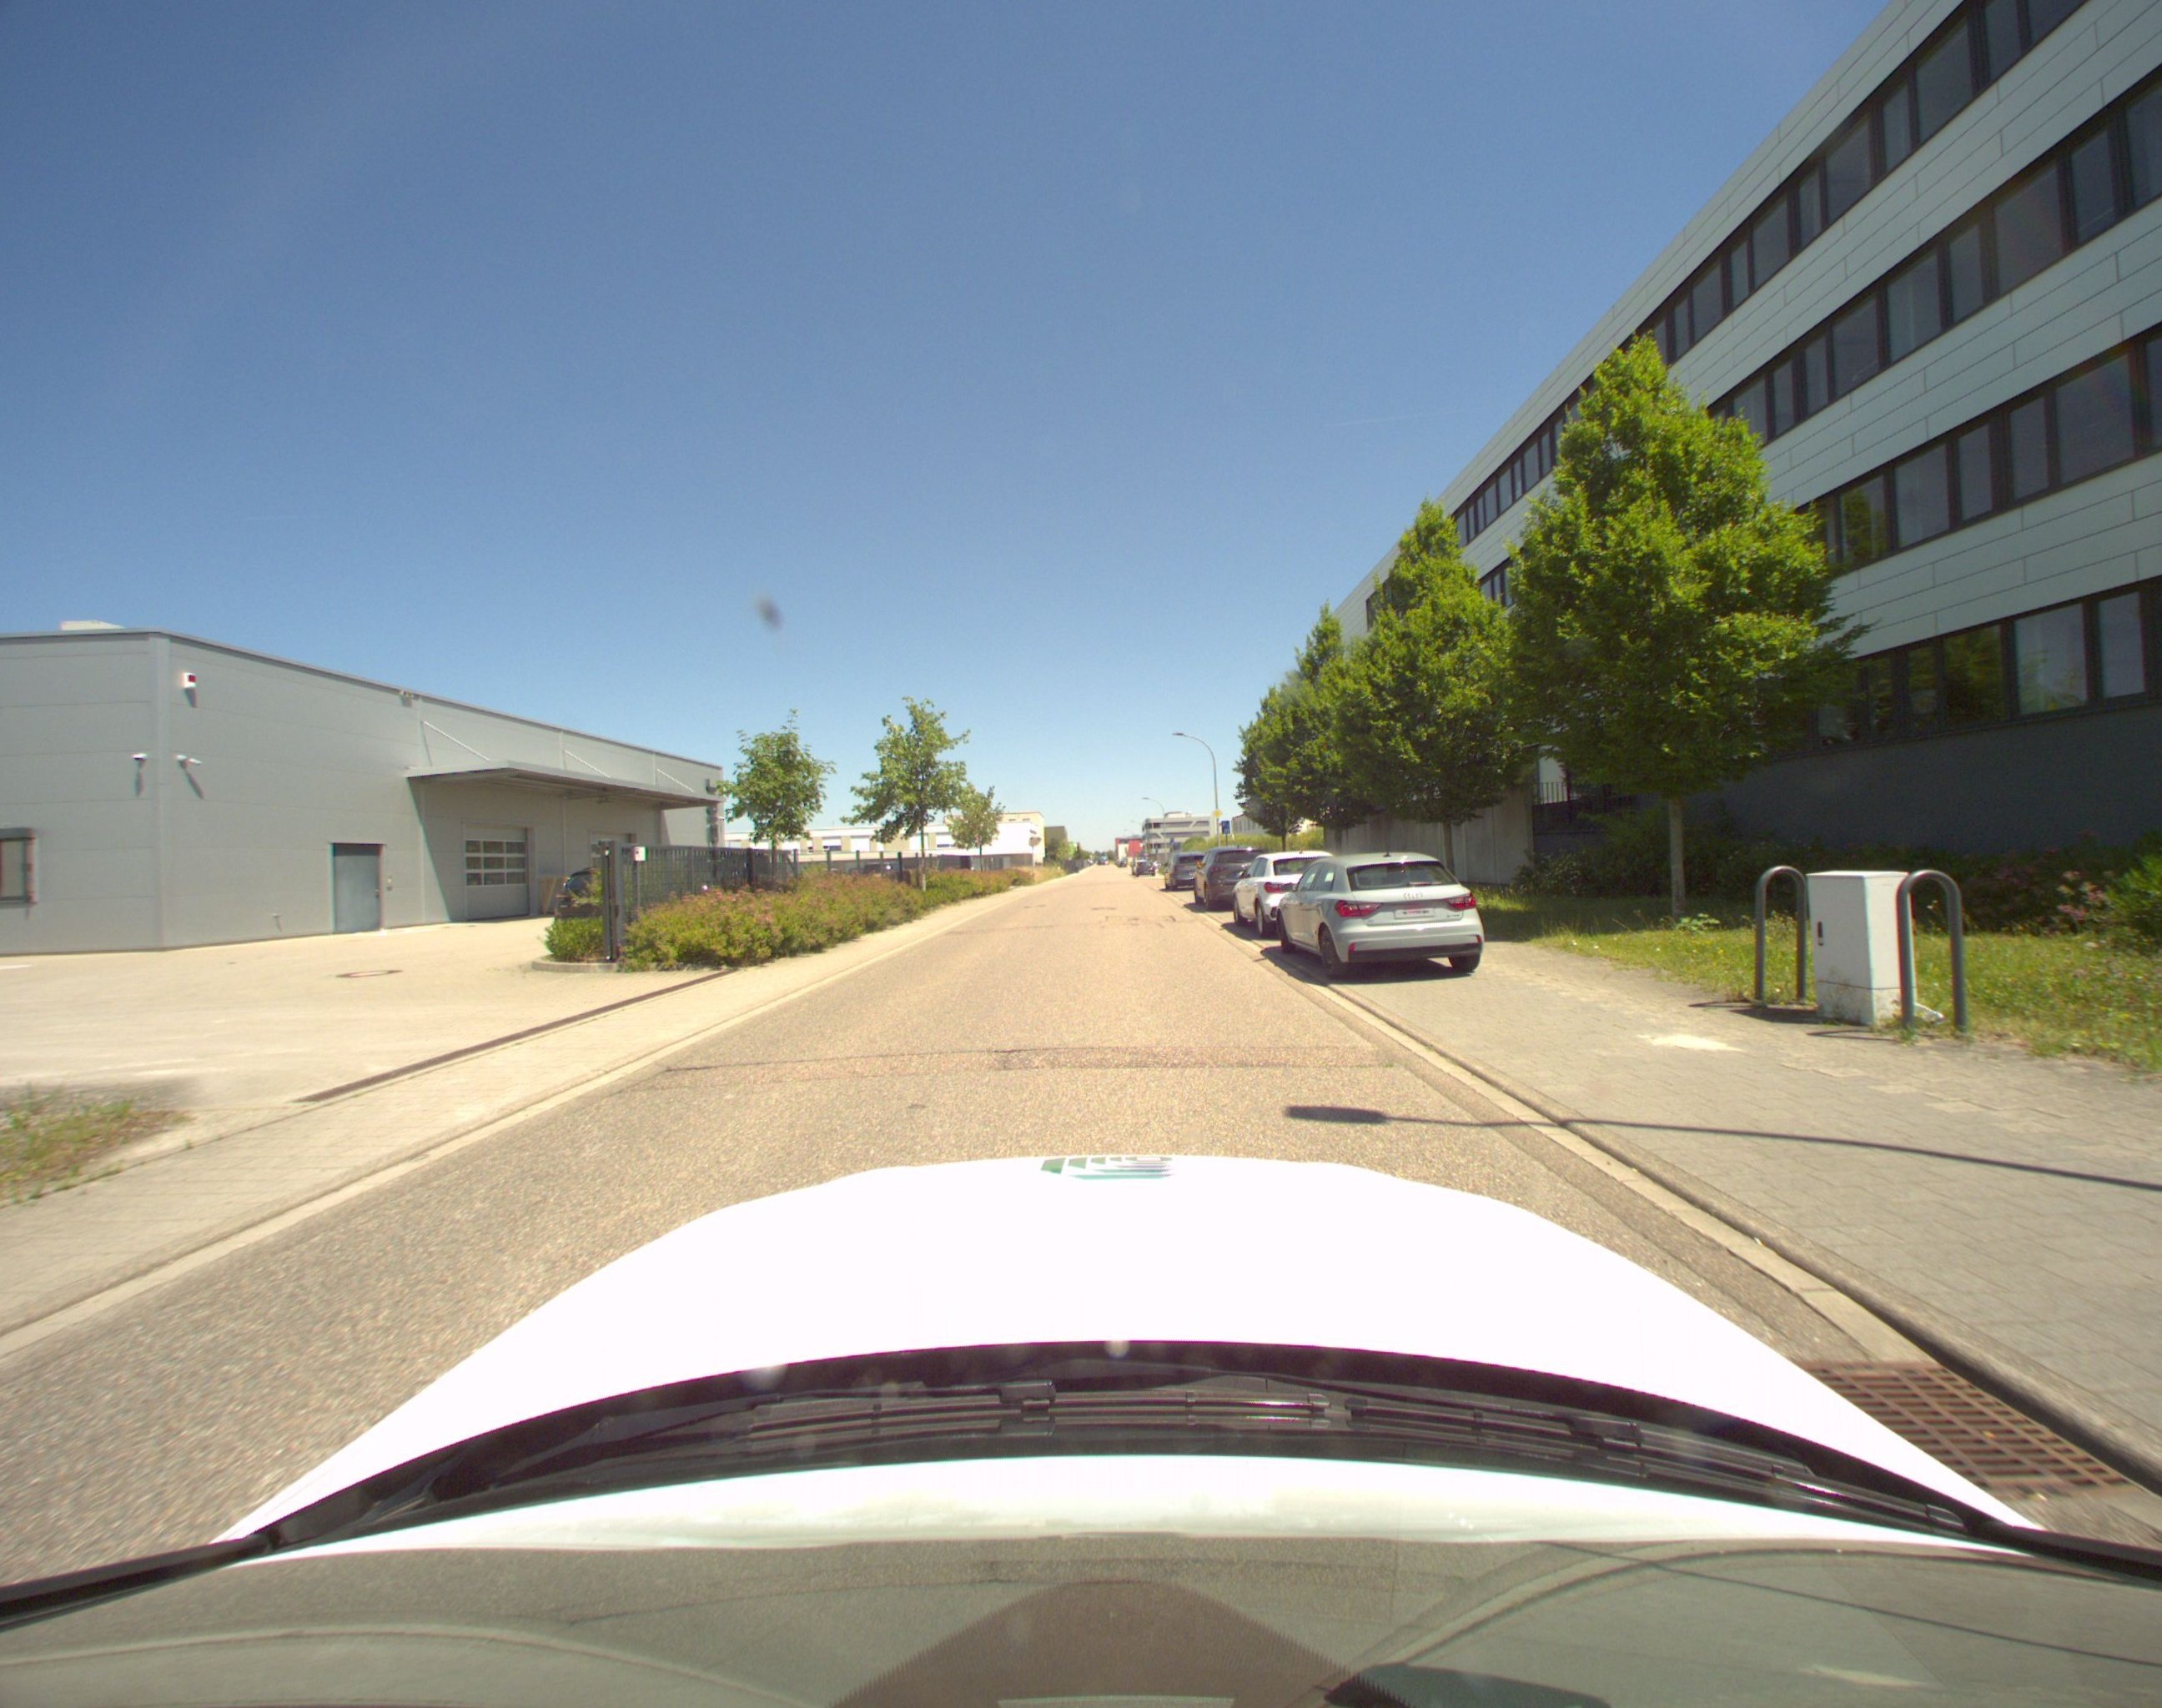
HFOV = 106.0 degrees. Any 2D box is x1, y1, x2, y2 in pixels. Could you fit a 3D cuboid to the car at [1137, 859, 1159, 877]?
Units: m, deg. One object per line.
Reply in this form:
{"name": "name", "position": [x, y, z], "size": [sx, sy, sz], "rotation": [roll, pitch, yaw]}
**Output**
{"name": "car", "position": [6.167, 1.273, 74.912], "size": [1.899, 1.448, 4.005], "rotation": [-4, -1, 4]}

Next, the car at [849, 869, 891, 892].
{"name": "car", "position": [-13.991, 1.731, 54.266], "size": [1.819, 1.337, 3.758], "rotation": [-2, 0, -1]}

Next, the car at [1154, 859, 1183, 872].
{"name": "car", "position": [14.161, 1.904, 132.176], "size": [4.603, 2.014, 2.610], "rotation": [0, -1, 5]}

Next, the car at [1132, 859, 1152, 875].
{"name": "car", "position": [6.311, 1.325, 83.833], "size": [1.899, 1.546, 4.005], "rotation": [-4, -1, 4]}

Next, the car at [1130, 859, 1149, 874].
{"name": "car", "position": [6.539, 1.347, 90.610], "size": [1.899, 1.546, 4.005], "rotation": [-4, -1, 4]}

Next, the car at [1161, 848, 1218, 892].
{"name": "car", "position": [4.648, 0.658, 35.471], "size": [1.797, 1.662, 4.608], "rotation": [-4, 0, 1]}

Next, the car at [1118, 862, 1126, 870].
{"name": "car", "position": [9.307, 2.719, 185.588], "size": [1.769, 1.728, 4.002], "rotation": [0, 0, 2]}

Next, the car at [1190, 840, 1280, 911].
{"name": "car", "position": [4.129, 0.540, 22.529], "size": [1.751, 1.663, 4.365], "rotation": [-4, 0, 2]}

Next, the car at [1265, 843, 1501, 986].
{"name": "car", "position": [3.706, 0.657, 10.777], "size": [1.709, 1.423, 3.953], "rotation": [-4, 0, 2]}

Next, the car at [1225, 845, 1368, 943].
{"name": "car", "position": [3.913, 0.665, 15.474], "size": [1.709, 1.481, 4.033], "rotation": [-4, 0, 2]}
